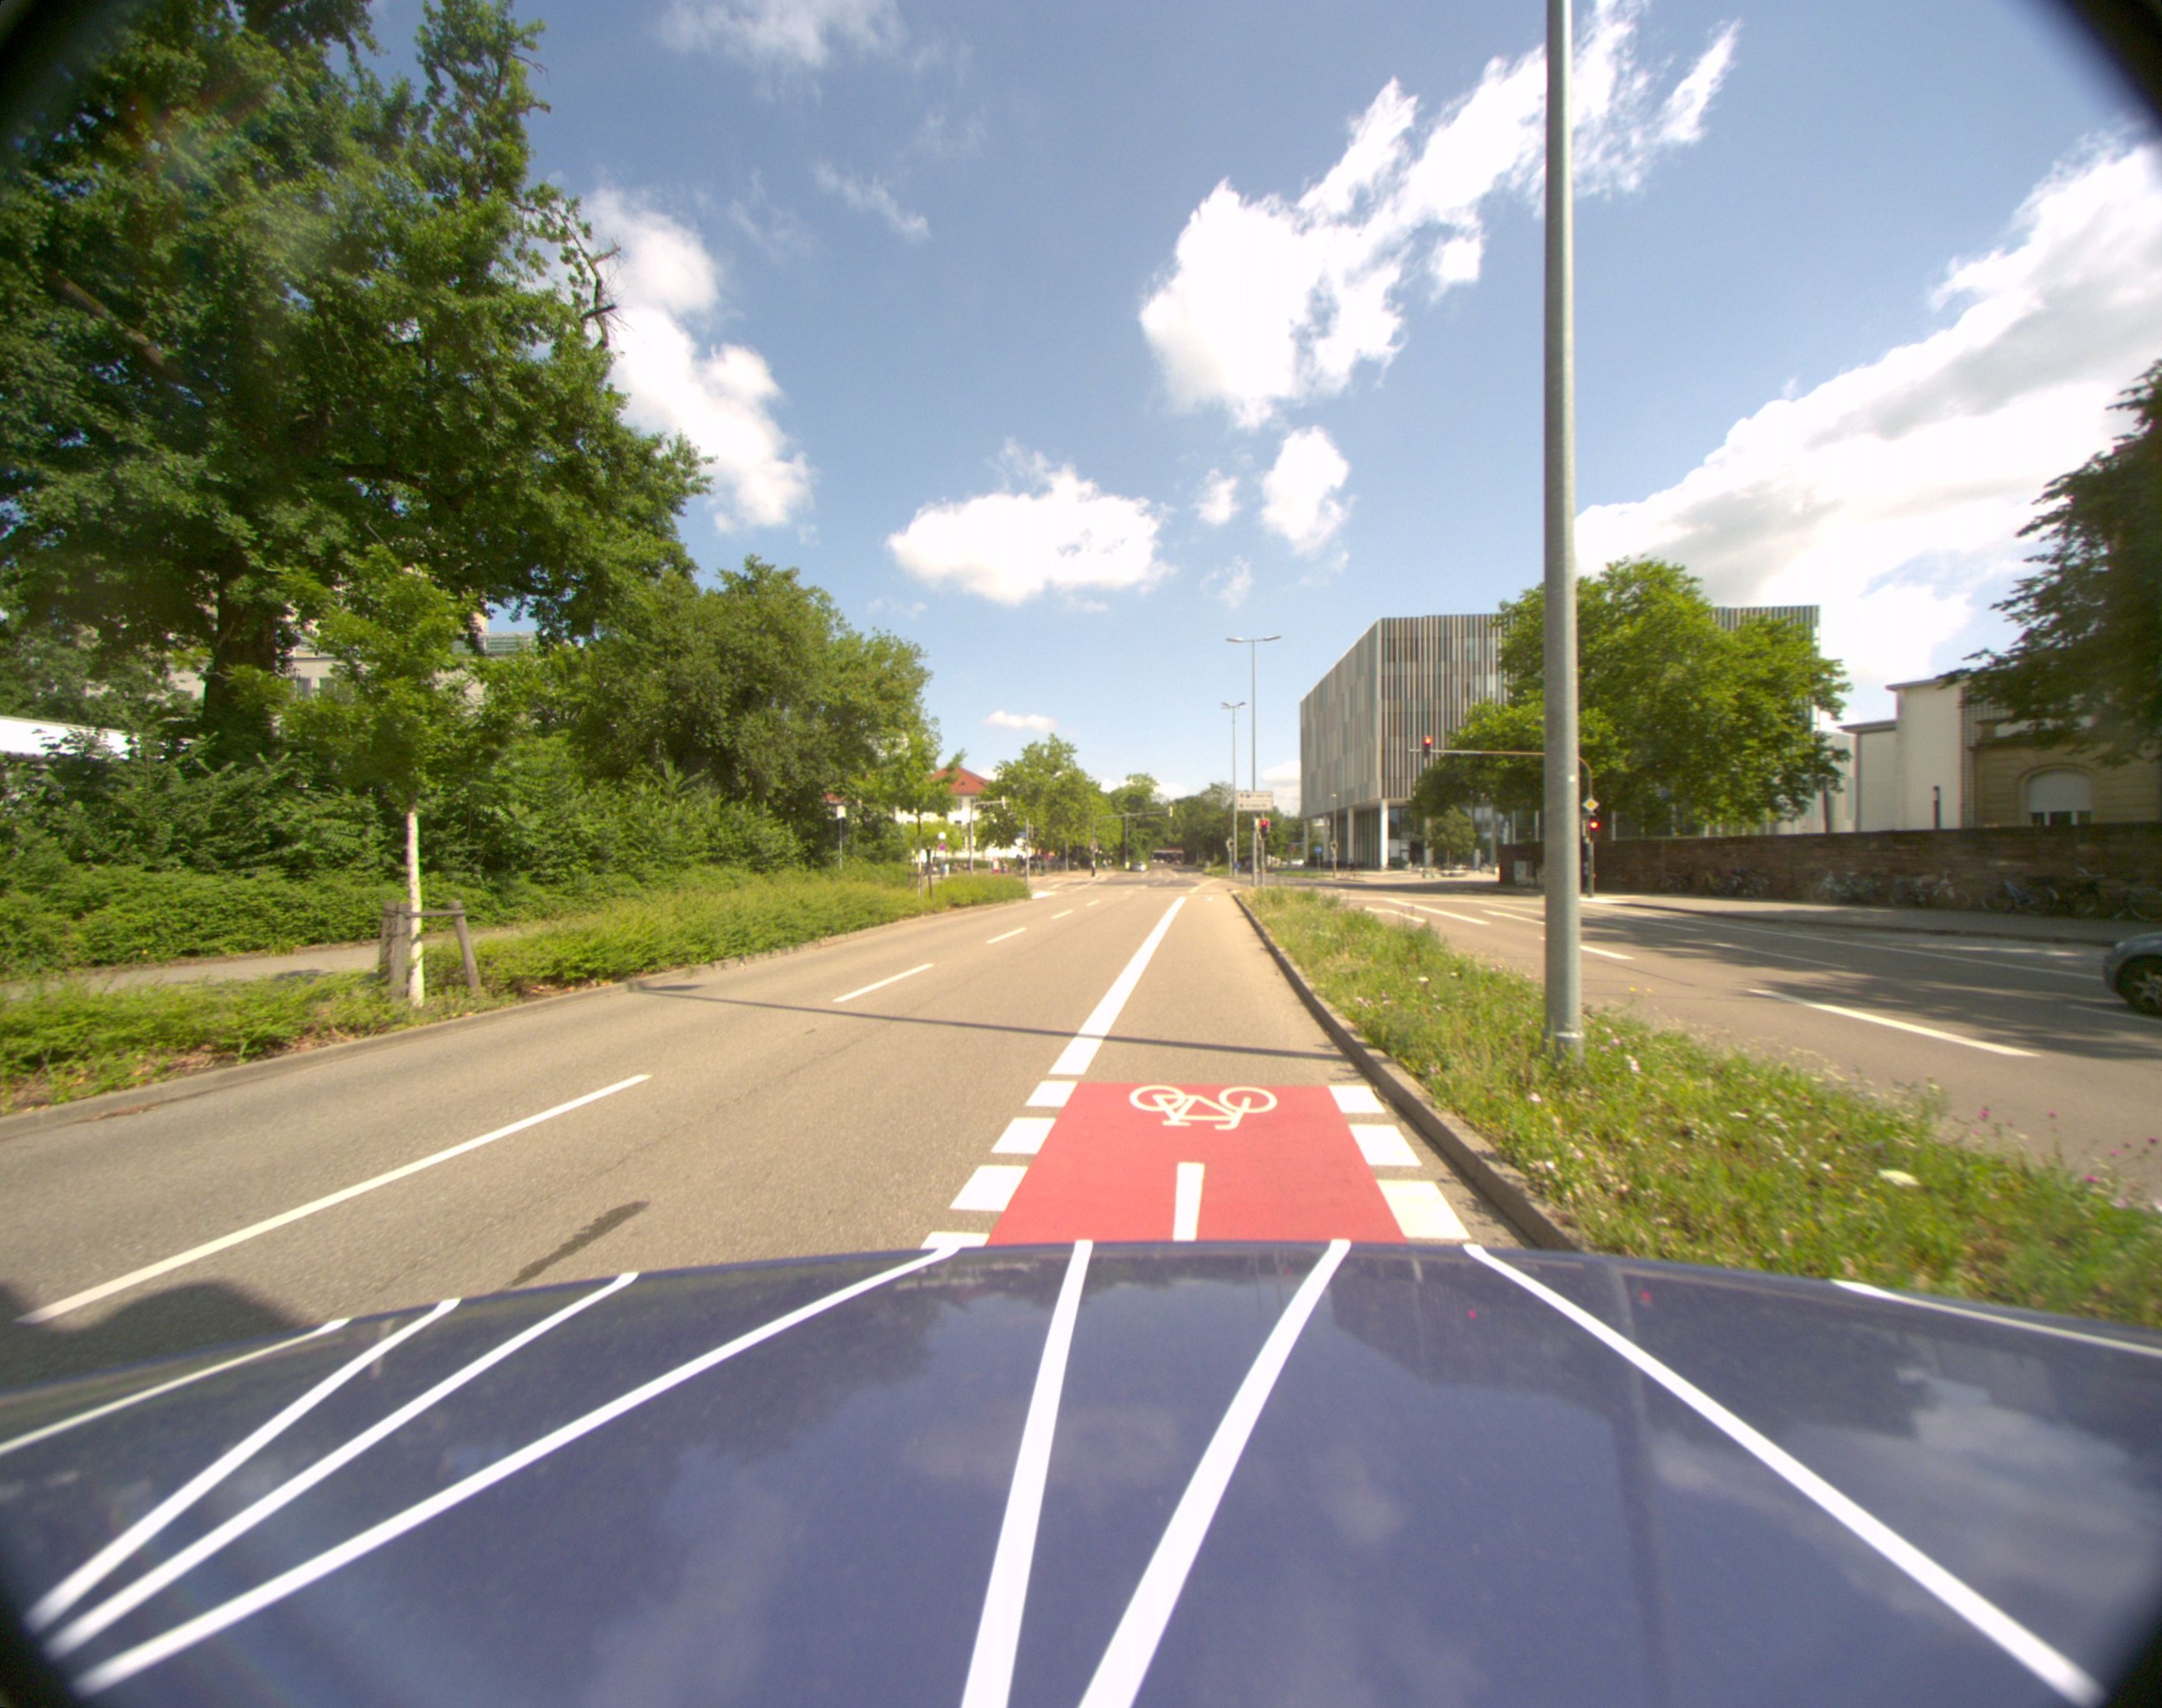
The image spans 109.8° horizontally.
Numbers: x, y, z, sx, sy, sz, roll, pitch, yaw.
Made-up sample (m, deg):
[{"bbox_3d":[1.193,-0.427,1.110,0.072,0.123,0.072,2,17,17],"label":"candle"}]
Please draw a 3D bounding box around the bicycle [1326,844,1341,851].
[{"bbox_3d":[41.421,-1.023,124.530,2.216,1.090,0.723,0,0,1],"label":"bicycle"}]

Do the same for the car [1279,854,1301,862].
[{"bbox_3d":[41.422,0.802,150.509,3.994,1.676,1.647,0,0,8],"label":"car"}]

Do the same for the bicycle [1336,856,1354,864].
[{"bbox_3d":[36.314,0.852,104.415,2.216,1.090,0.755,0,0,1],"label":"bicycle"}]

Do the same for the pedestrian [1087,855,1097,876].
[{"bbox_3d":[1.008,1.052,67.660,0.701,1.815,0.942,3,1,7],"label":"pedestrian"}]

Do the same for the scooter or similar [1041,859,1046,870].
[{"bbox_3d":[-3.886,1.098,78.743,0.347,1.122,1.168,0,0,8],"label":"scooter or similar"}]

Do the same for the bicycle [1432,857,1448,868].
[{"bbox_3d":[37.274,0.897,78.917,2.223,1.090,0.720,0,0,-44],"label":"bicycle"}]

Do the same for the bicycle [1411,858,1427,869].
[{"bbox_3d":[35.978,1.002,80.882,2.223,1.090,0.720,0,0,-44],"label":"bicycle"}]

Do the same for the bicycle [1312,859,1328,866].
[{"bbox_3d":[37.337,1.349,118.828,2.216,1.090,0.723,0,0,1],"label":"bicycle"}]

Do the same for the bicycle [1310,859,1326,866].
[{"bbox_3d":[37.360,1.354,119.756,2.216,1.083,0.723,0,0,1],"label":"bicycle"}]

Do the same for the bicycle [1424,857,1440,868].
[{"bbox_3d":[36.738,0.898,79.467,2.223,1.090,0.720,0,0,-44],"label":"bicycle"}]

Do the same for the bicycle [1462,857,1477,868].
[{"bbox_3d":[38.901,0.843,76.036,2.223,1.090,0.720,0,0,-44],"label":"bicycle"}]

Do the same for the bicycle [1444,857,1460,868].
[{"bbox_3d":[37.823,0.858,77.499,2.223,1.090,0.720,0,0,-44],"label":"bicycle"}]

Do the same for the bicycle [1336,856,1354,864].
[{"bbox_3d":[36.593,0.885,105.382,2.216,1.090,0.723,0,0,1],"label":"bicycle"}]

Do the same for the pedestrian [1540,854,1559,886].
[{"bbox_3d":[23.753,0.799,38.526,0.561,1.641,0.727,0,0,4],"label":"pedestrian"}]

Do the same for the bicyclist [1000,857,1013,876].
[{"bbox_3d":[-6.020,0.997,61.537,0.613,1.498,0.916,-1,1,-41],"label":"bicyclist"}]

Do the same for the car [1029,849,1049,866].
[{"bbox_3d":[-5.220,0.416,95.591,1.998,2.002,4.903,0,0,3],"label":"car"}]

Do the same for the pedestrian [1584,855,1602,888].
[{"bbox_3d":[23.879,0.812,35.436,0.477,1.531,0.616,0,0,4],"label":"pedestrian"}]

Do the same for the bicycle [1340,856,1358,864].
[{"bbox_3d":[36.493,0.865,103.492,2.216,1.090,0.723,0,0,1],"label":"bicycle"}]

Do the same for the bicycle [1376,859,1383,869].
[{"bbox_3d":[32.950,1.060,83.895,0.547,1.090,1.636,0,0,18],"label":"bicycle"}]

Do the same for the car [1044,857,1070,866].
[{"bbox_3d":[-3.644,1.131,117.450,3.998,1.416,1.757,0,0,-2],"label":"car"}]

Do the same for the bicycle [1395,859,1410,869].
[{"bbox_3d":[34.651,1.042,81.853,2.223,1.090,0.720,0,0,-44],"label":"bicycle"}]

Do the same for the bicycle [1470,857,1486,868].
[{"bbox_3d":[39.425,0.840,75.463,2.223,1.090,0.720,0,0,-44],"label":"bicycle"}]

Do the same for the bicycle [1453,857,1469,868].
[{"bbox_3d":[38.355,0.835,76.721,2.223,1.090,0.720,0,0,-44],"label":"bicycle"}]

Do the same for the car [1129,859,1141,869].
[{"bbox_3d":[7.664,1.426,108.370,1.707,1.321,4.001,2,0,3],"label":"car"}]

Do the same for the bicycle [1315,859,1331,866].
[{"bbox_3d":[37.027,1.316,116.453,2.216,1.090,0.723,0,0,1],"label":"bicycle"}]

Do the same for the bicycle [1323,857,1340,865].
[{"bbox_3d":[36.559,0.995,110.724,2.216,1.090,0.723,0,0,1],"label":"bicycle"}]

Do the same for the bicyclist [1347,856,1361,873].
[{"bbox_3d":[23.403,0.877,65.070,0.944,1.456,0.633,0,0,40],"label":"bicyclist"}]

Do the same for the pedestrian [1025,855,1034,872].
[{"bbox_3d":[-5.072,0.964,74.940,0.741,1.640,0.640,0,0,8],"label":"pedestrian"}]

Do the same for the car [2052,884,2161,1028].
[{"bbox_3d":[11.764,1.075,6.604,1.703,1.436,4.148,1,0,9],"label":"car"}]

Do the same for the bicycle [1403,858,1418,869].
[{"bbox_3d":[35.260,1.006,81.281,2.223,1.090,0.720,0,0,-44],"label":"bicycle"}]

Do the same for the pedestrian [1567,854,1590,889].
[{"bbox_3d":[23.110,0.804,35.300,0.642,1.641,0.731,0,0,4],"label":"pedestrian"}]

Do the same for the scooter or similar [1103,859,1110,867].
[{"bbox_3d":[3.522,1.265,105.224,0.517,1.065,1.372,0,0,22],"label":"scooter or similar"}]

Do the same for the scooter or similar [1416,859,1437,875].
[{"bbox_3d":[26.118,0.974,57.439,1.504,1.150,0.503,0,0,-18],"label":"scooter or similar"}]
